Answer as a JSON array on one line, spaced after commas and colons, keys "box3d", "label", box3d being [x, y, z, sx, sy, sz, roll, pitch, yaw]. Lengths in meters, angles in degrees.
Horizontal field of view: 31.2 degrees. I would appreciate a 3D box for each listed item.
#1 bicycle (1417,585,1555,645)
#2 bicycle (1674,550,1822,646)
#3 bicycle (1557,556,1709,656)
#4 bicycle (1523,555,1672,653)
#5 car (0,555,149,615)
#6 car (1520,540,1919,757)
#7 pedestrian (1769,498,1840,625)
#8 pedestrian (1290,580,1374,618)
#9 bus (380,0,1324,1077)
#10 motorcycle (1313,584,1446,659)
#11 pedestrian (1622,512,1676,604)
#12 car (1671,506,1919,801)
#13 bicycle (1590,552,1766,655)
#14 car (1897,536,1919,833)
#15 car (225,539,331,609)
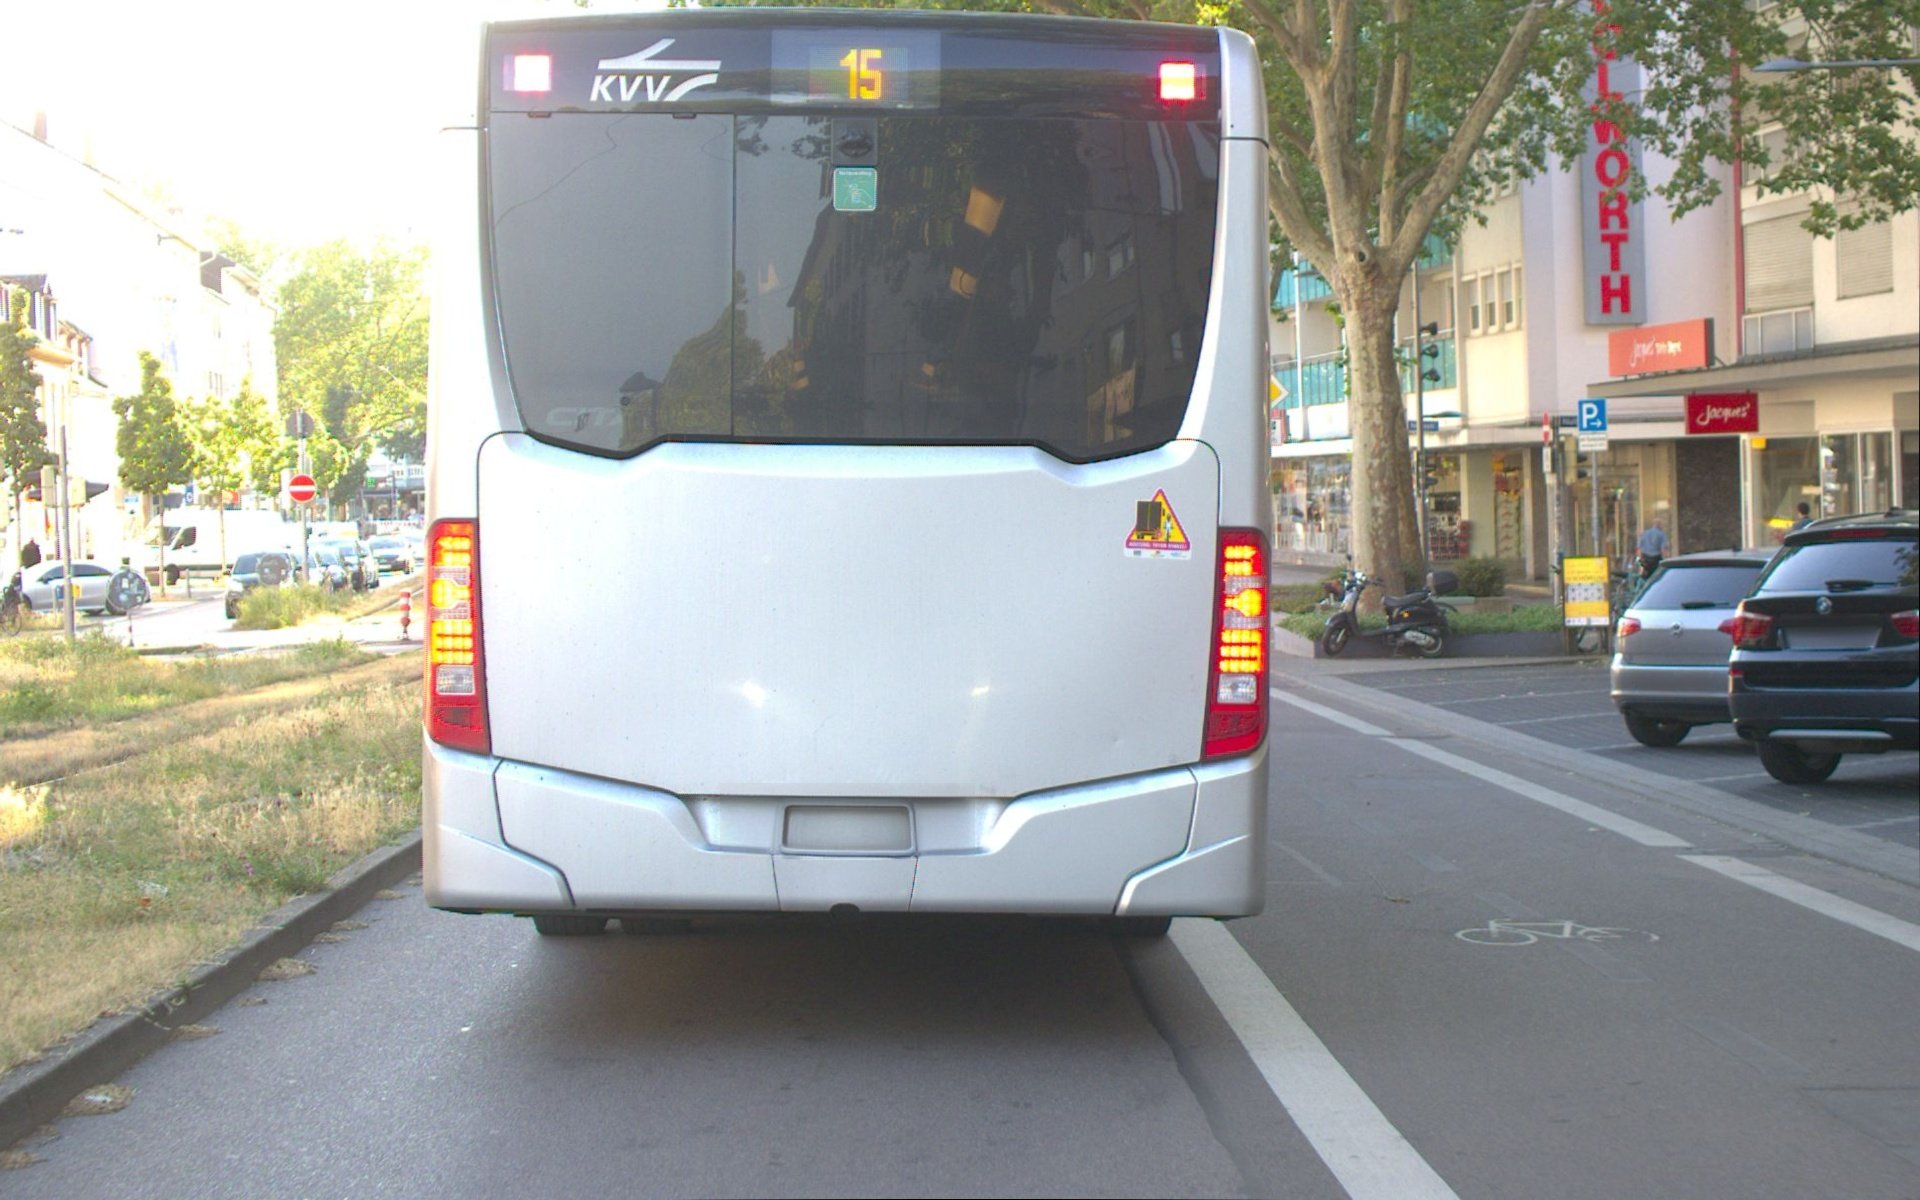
[{"box3d": [7.337, 0.210, 48.032, 1.877, 0.762, 0.711, -1, 3, 8], "label": "bicycle"}, {"box3d": [10.205, -0.026, 44.558, 1.765, 1.150, 0.678, -3, 1, 8], "label": "bicycle"}, {"box3d": [8.903, 0.076, 45.518, 1.785, 1.185, 0.672, -4, 1, -9], "label": "bicycle"}, {"box3d": [8.615, 0.054, 46.526, 1.877, 1.185, 0.711, -4, 0, 8], "label": "bicycle"}, {"box3d": [-23.150, -0.388, 87.254, 4.538, 1.407, 2.000, -2, 1, -37], "label": "car"}, {"box3d": [6.293, 0.305, 25.669, 4.165, 1.446, 1.809, -2, 1, -38], "label": "car"}, {"box3d": [12.053, -0.554, 49.080, 0.780, 1.787, 0.764, -1, 1, -1], "label": "pedestrian"}, {"box3d": [5.865, -0.019, 54.229, 1.254, 0.587, 0.482, -1, 1, -3], "label": "pedestrian"}, {"box3d": [-0.310, -0.262, 13.333, 2.678, 3.073, 7.114, 0, 1, 0], "label": "bus"}, {"box3d": [5.264, 0.265, 43.207, 1.570, 0.889, 0.544, -1, 1, -4], "label": "motorcycle"}, {"box3d": [12.957, -0.796, 64.667, 0.747, 1.673, 0.835, -1, 3, -7], "label": "pedestrian"}, {"box3d": [6.467, 0.251, 21.486, 4.139, 1.675, 1.809, -2, 1, -41], "label": "car"}, {"box3d": [9.224, 0.040, 44.226, 2.081, 1.228, 0.831, -2, 1, 4], "label": "bicycle"}, {"box3d": [6.805, 0.389, 18.387, 3.598, 1.535, 1.741, -2, 1, -41], "label": "car"}, {"box3d": [-15.975, -0.630, 80.660, 1.722, 1.504, 3.476, -4, 1, 0], "label": "car"}]
